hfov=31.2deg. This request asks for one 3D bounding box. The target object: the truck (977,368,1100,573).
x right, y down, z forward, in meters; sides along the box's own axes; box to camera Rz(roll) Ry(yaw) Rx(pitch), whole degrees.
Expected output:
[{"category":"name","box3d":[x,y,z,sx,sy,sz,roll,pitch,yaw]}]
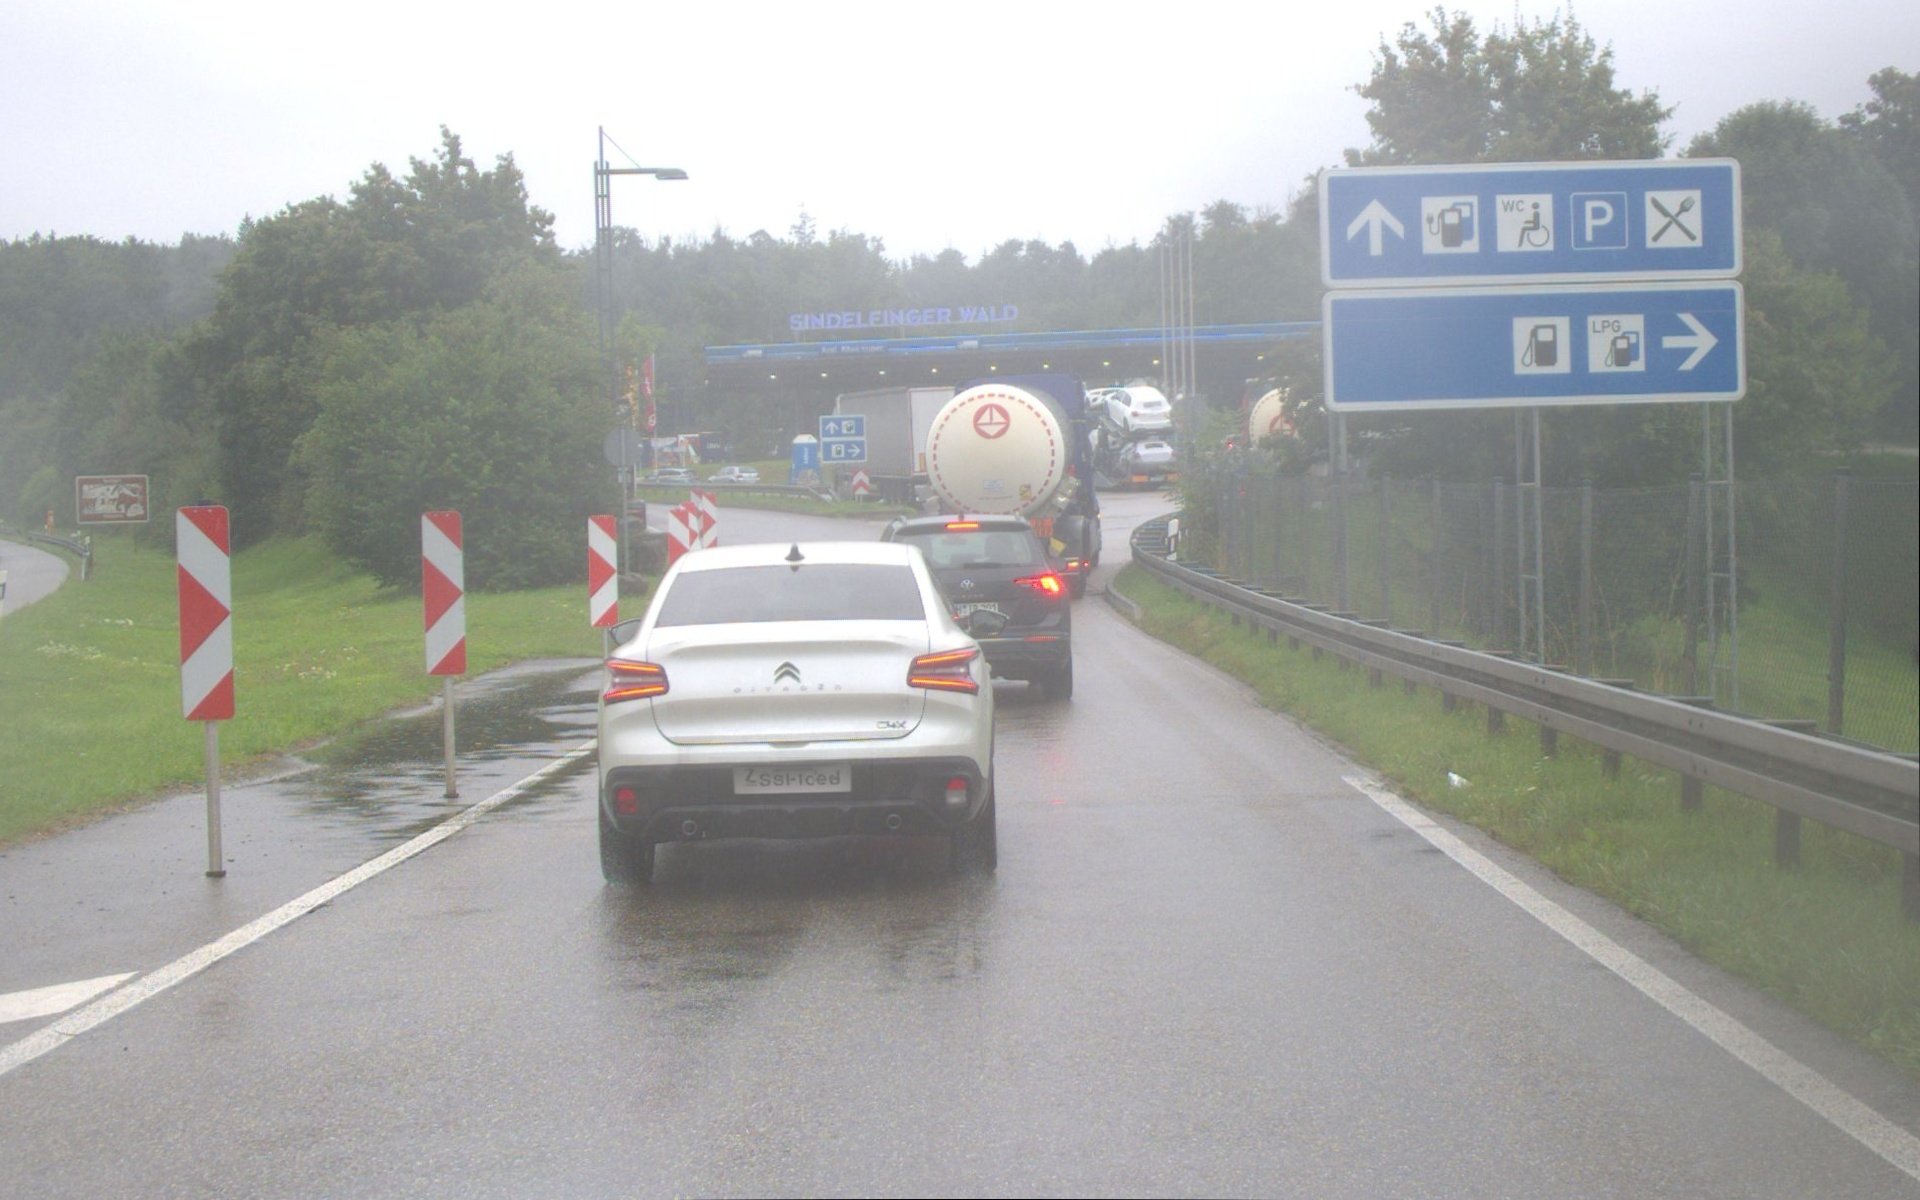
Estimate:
[{"category":"truck","box3d":[1.470,-2.386,62.622,2.053,3.518,4.746,-2,3,2]}]

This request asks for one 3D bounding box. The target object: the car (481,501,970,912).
[{"category":"car","box3d":[-1.023,0.393,16.128,1.993,1.673,4.001,1,1,-2]}]

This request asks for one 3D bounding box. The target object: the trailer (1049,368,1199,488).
[{"category":"trailer","box3d":[5.970,-6.400,127.664,3.215,4.174,11.534,-2,3,-9]}]

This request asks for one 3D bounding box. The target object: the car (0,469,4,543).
[{"category":"car","box3d":[-47.194,-4.506,165.000,2.371,3.473,4.817,0,1,-17]}]

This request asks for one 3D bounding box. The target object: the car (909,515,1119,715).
[{"category":"car","box3d":[0.446,0.091,30.712,1.742,1.661,4.000,0,1,0]}]

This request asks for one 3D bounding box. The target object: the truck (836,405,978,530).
[{"category":"truck","box3d":[-1.902,-4.517,115.619,2.370,3.860,12.460,-3,3,-11]}]

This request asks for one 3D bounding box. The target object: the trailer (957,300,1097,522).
[{"category":"trailer","box3d":[1.196,-3.056,55.931,1.980,3.213,10.322,-2,3,2]}]

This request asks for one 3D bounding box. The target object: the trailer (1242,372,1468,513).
[{"category":"trailer","box3d":[10.606,-4.260,91.182,2.134,3.428,10.238,-1,3,29]}]
